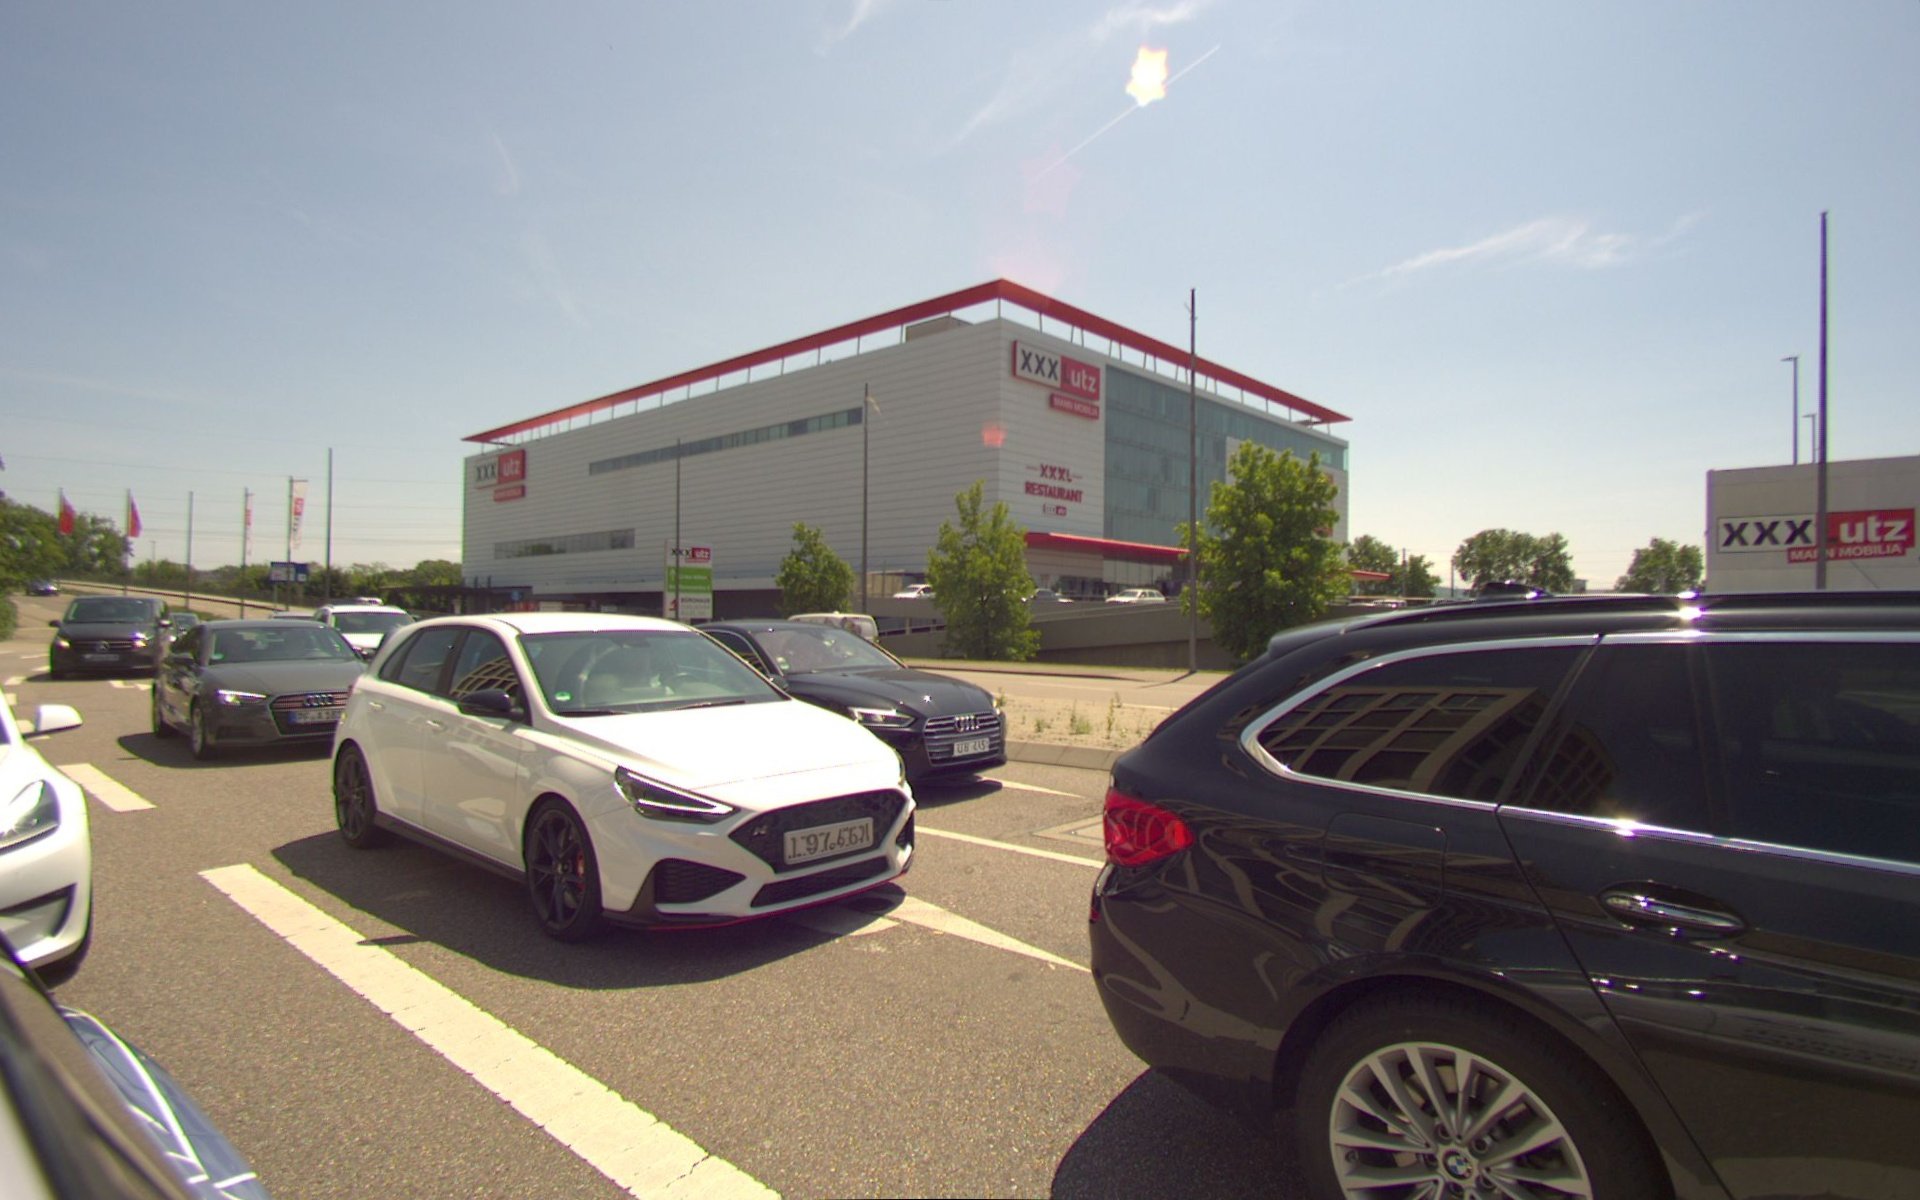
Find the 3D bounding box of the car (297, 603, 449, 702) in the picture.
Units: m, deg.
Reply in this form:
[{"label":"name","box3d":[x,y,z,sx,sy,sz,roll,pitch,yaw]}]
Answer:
[{"label":"car","box3d":[-11.325,0.911,19.377,1.743,1.653,4.498,0,0,-40]}]

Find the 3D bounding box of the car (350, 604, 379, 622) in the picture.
[{"label":"car","box3d":[-79.583,1.714,135.182,4.815,2.300,2.162,-1,-2,44]}]

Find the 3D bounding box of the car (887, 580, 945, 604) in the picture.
[{"label":"car","box3d":[-2.992,-0.526,69.342,1.717,1.519,3.944,-1,-2,42]}]

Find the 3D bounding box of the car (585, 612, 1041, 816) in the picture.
[{"label":"car","box3d":[-1.544,0.865,9.225,4.466,1.415,1.654,-2,-1,42]}]

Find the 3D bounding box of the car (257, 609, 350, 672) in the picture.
[{"label":"car","box3d":[-16.454,0.972,25.280,1.741,1.433,3.908,-1,-1,-36]}]

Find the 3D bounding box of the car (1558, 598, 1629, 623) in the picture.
[{"label":"car","box3d":[45.950,0.743,73.472,4.134,1.754,1.759,0,-2,42]}]

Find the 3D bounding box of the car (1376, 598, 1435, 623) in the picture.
[{"label":"car","box3d":[36.295,0.866,82.455,4.000,1.915,1.972,-1,-2,43]}]

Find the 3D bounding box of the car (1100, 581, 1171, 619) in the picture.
[{"label":"car","box3d":[10.019,0.048,57.586,4.407,2.029,1.680,2,-2,-44]}]

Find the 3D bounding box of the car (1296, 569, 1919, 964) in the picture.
[{"label":"car","box3d":[3.798,0.609,4.534,4.009,1.433,1.674,-2,-1,43]}]

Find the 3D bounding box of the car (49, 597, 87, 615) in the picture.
[{"label":"car","box3d":[-89.663,0.613,101.740,3.983,1.829,1.661,0,-2,29]}]

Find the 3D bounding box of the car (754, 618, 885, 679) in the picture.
[{"label":"car","box3d":[-4.326,1.457,30.857,4.044,1.736,1.841,-2,-3,44]}]

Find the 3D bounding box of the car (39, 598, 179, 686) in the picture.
[{"label":"car","box3d":[-19.664,0.923,23.589,1.865,1.835,4.850,1,-1,-33]}]

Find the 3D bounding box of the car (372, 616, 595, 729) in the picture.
[{"label":"car","box3d":[-7.232,0.975,15.108,1.744,1.413,4.435,0,-1,-43]}]

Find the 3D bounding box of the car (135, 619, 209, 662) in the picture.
[{"label":"car","box3d":[-28.238,1.425,36.361,1.582,1.451,3.744,1,-2,-30]}]

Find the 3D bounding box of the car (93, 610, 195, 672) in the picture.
[{"label":"car","box3d":[-23.468,1.152,29.254,1.784,1.652,4.011,1,-2,-32]}]

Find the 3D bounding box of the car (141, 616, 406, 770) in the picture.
[{"label":"car","box3d":[-7.833,0.909,11.385,1.745,1.393,4.092,0,-1,-45]}]

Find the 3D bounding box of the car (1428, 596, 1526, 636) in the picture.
[{"label":"car","box3d":[27.169,0.860,53.270,4.323,2.029,1.974,0,-2,38]}]

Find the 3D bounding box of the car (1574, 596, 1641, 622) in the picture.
[{"label":"car","box3d":[52.130,0.759,81.520,4.328,2.029,1.972,0,-2,42]}]

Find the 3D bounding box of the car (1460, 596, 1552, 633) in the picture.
[{"label":"car","box3d":[30.896,0.836,57.320,4.323,2.029,1.975,0,-2,38]}]

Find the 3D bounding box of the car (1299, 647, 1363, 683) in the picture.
[{"label":"car","box3d":[19.056,3.289,51.898,1.997,1.719,3.949,-1,-2,38]}]

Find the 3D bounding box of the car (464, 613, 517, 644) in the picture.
[{"label":"car","box3d":[-27.546,1.675,59.334,1.838,1.736,4.050,2,-3,-39]}]

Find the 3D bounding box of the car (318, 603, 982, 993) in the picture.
[{"label":"car","box3d":[-1.996,0.762,5.786,4.068,1.447,1.769,-1,-1,41]}]

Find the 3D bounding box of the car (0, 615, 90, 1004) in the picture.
[{"label":"car","box3d":[-5.614,0.810,4.705,4.282,1.447,1.800,-1,0,41]}]

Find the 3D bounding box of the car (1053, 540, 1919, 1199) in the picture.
[{"label":"car","box3d":[2.534,0.638,1.745,4.553,1.451,1.779,-1,-1,40]}]
